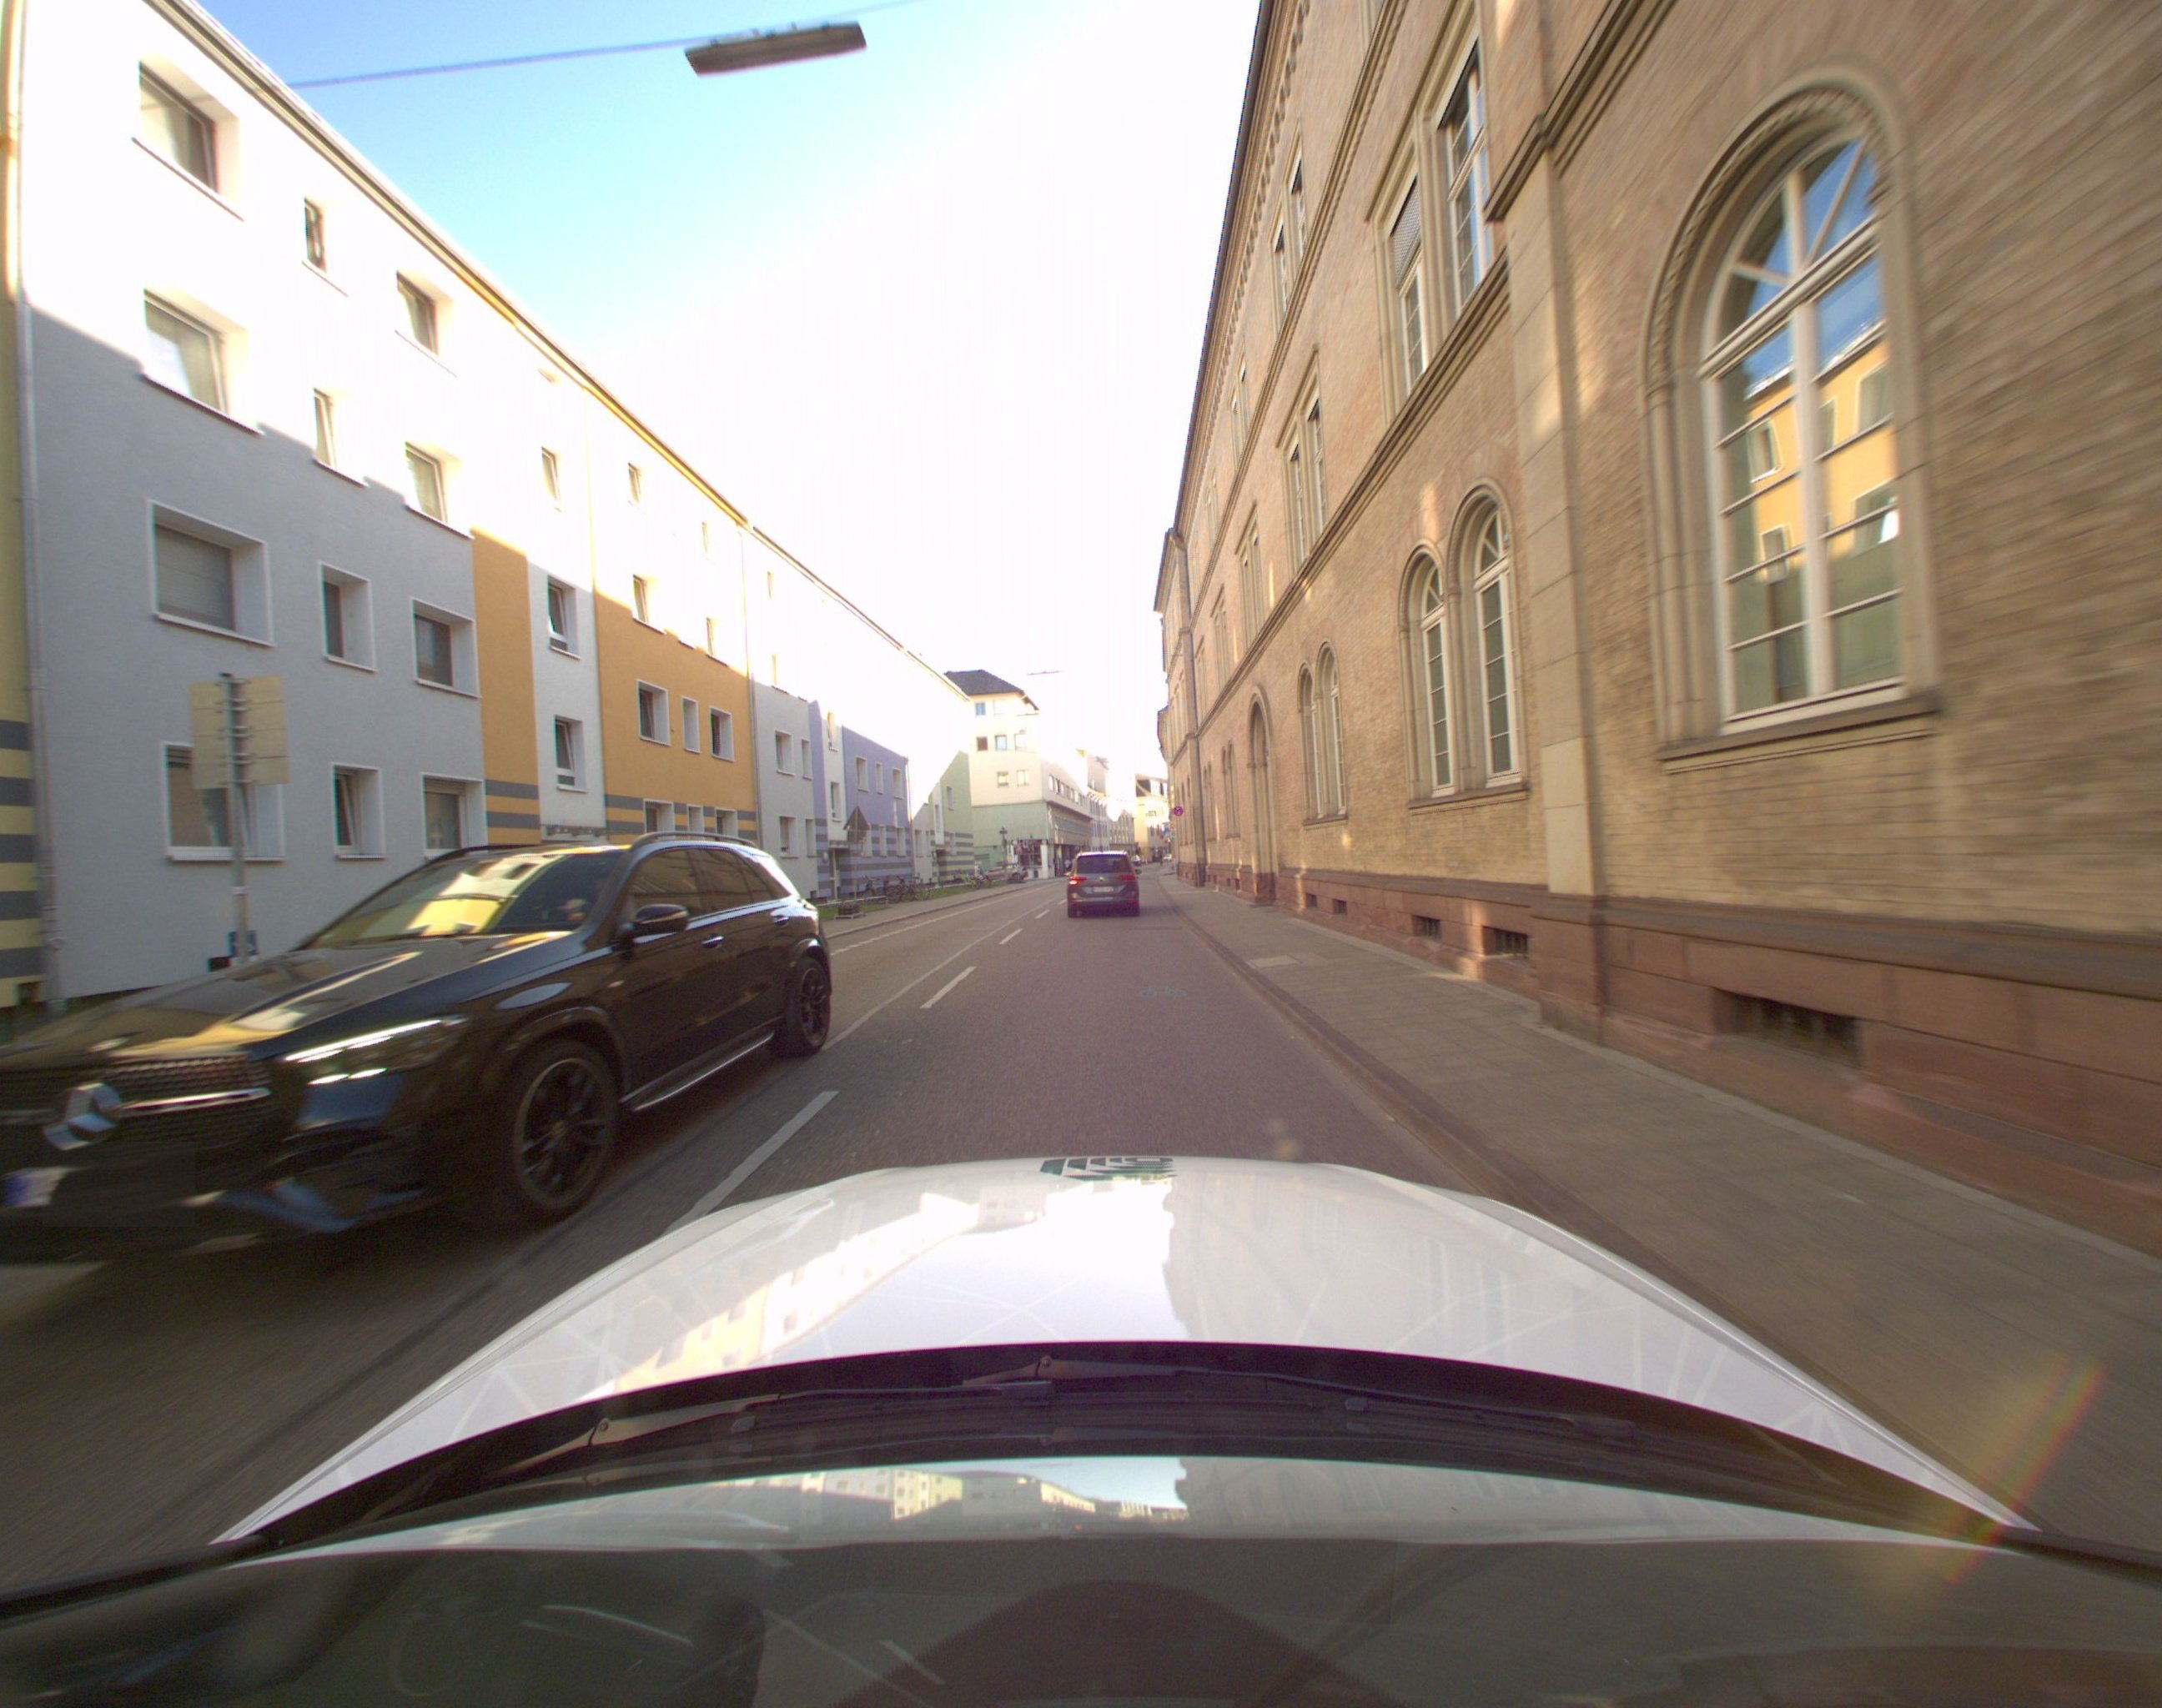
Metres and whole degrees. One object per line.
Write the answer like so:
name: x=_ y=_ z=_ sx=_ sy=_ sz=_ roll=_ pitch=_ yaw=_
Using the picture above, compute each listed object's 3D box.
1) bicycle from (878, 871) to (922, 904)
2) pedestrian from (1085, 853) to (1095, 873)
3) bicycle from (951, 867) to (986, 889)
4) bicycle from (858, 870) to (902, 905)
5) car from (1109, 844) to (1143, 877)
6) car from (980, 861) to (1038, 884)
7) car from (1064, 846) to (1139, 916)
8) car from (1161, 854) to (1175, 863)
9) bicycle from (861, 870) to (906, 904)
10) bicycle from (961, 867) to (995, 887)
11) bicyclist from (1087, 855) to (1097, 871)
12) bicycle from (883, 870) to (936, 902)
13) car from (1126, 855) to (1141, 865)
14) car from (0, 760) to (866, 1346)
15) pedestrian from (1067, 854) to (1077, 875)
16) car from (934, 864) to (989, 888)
bicycle: x=-7.507 y=1.383 z=33.736 sx=1.633 sy=1.241 sz=0.467 roll=-3 pitch=0 yaw=1
pedestrian: x=0.855 y=0.860 z=75.259 sx=0.550 sy=1.829 sz=0.735 roll=-4 pitch=-1 yaw=28
bicycle: x=-6.465 y=1.371 z=46.682 sx=1.930 sy=1.179 sz=0.611 roll=-1 pitch=-1 yaw=-12
bicycle: x=-7.898 y=1.314 z=32.083 sx=1.573 sy=1.241 sz=0.384 roll=-3 pitch=-1 yaw=1
car: x=2.847 y=0.406 z=51.719 sx=1.985 sy=1.881 sz=4.003 roll=-3 pitch=0 yaw=3
car: x=-5.646 y=1.430 z=64.141 sx=4.077 sy=1.443 sz=1.951 roll=-4 pitch=0 yaw=6
car: x=0.596 y=0.643 z=21.172 sx=1.754 sy=1.607 sz=4.003 roll=-1 pitch=0 yaw=3
car: x=16.347 y=0.811 z=153.139 sx=1.719 sy=1.468 sz=4.019 roll=-4 pitch=0 yaw=19
bicycle: x=-7.878 y=1.325 z=32.500 sx=1.578 sy=1.241 sz=0.449 roll=-3 pitch=0 yaw=1
bicycle: x=-6.077 y=1.343 z=48.131 sx=1.925 sy=1.179 sz=0.612 roll=-1 pitch=-1 yaw=-5
bicyclist: x=1.152 y=0.947 z=84.879 sx=0.827 sy=1.561 sz=0.760 roll=-3 pitch=0 yaw=4
bicycle: x=-7.243 y=1.346 z=34.442 sx=2.001 sy=1.231 sz=0.623 roll=-3 pitch=0 yaw=1
car: x=7.971 y=0.894 z=123.370 sx=1.854 sy=1.468 sz=3.844 roll=-3 pitch=0 yaw=9
car: x=-3.159 y=0.694 z=5.273 sx=1.893 sy=1.835 sz=5.096 roll=-5 pitch=0 yaw=1
pedestrian: x=-0.801 y=0.930 z=73.985 sx=0.550 sy=1.829 sz=0.735 roll=-4 pitch=-1 yaw=28
car: x=-8.541 y=1.587 z=58.452 sx=3.483 sy=1.443 sz=1.816 roll=-4 pitch=0 yaw=6
